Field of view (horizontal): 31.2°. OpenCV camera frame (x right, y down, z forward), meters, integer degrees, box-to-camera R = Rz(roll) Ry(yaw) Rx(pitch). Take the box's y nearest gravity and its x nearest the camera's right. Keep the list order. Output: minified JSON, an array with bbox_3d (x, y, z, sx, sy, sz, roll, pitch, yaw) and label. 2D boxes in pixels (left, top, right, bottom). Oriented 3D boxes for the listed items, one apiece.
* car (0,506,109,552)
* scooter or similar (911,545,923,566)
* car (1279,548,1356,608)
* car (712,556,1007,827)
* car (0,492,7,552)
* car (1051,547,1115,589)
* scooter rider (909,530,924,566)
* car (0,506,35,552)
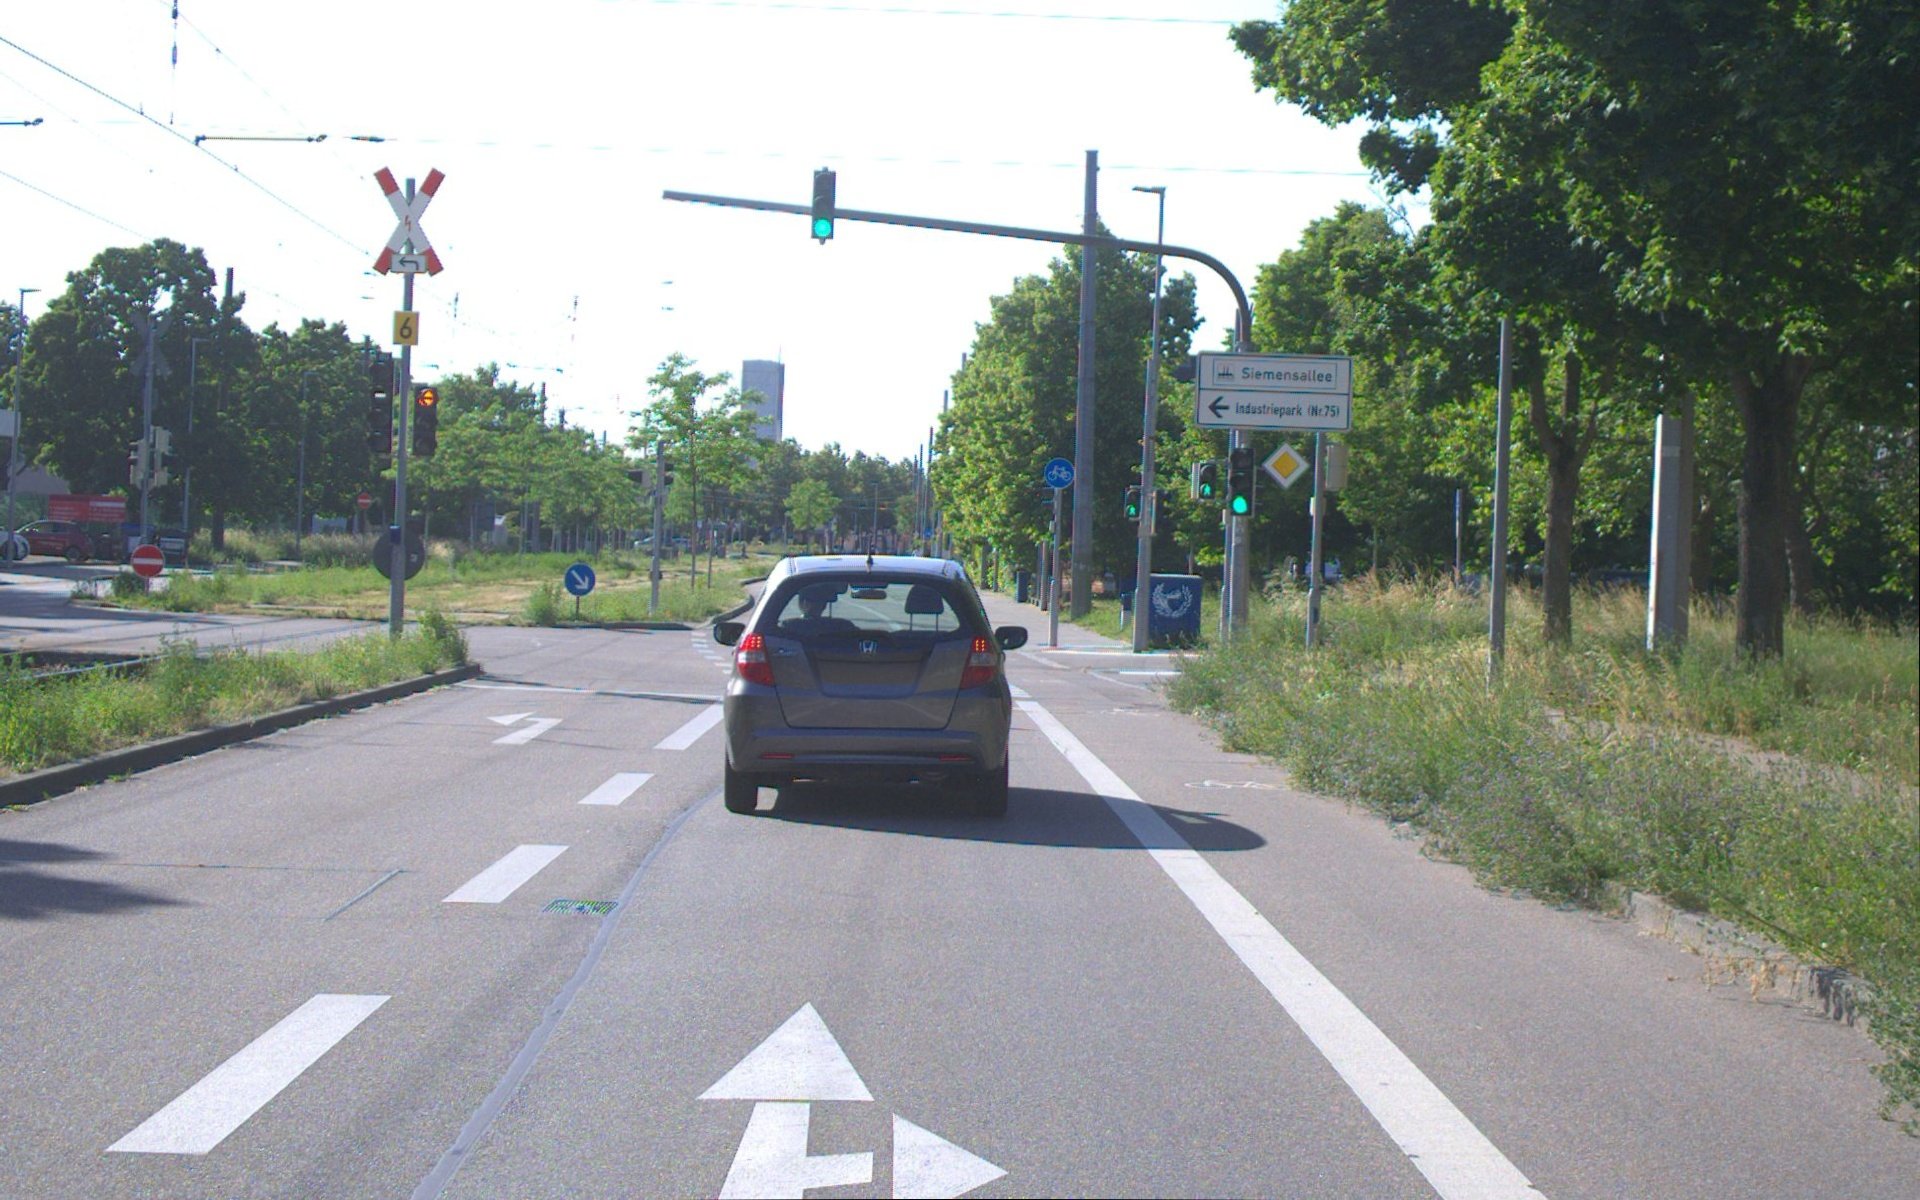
[{"bbox_3d":[-33.763,-2.647,127.368,4.070,1.563,1.792,2,1,-4],"label":"car"},{"bbox_3d":[-2.315,-2.398,183.828,0.539,1.114,1.417,2,1,-4],"label":"scooter or similar"},{"bbox_3d":[12.515,-0.798,120.699,1.872,1.960,5.167,3,1,-2],"label":"car"},{"bbox_3d":[-0.546,0.494,21.165,1.624,1.494,3.457,1,1,1],"label":"car"},{"bbox_3d":[-33.254,-2.587,110.644,1.859,1.967,4.776,3,1,36],"label":"car"},{"bbox_3d":[4.300,-1.142,120.725,1.773,1.382,3.871,1,1,-5],"label":"car"},{"bbox_3d":[-2.328,-2.796,183.719,0.716,1.894,0.935,2,1,-4],"label":"scooter rider"},{"bbox_3d":[-33.423,-2.427,115.232,1.790,1.523,4.461,3,1,36],"label":"car"}]
